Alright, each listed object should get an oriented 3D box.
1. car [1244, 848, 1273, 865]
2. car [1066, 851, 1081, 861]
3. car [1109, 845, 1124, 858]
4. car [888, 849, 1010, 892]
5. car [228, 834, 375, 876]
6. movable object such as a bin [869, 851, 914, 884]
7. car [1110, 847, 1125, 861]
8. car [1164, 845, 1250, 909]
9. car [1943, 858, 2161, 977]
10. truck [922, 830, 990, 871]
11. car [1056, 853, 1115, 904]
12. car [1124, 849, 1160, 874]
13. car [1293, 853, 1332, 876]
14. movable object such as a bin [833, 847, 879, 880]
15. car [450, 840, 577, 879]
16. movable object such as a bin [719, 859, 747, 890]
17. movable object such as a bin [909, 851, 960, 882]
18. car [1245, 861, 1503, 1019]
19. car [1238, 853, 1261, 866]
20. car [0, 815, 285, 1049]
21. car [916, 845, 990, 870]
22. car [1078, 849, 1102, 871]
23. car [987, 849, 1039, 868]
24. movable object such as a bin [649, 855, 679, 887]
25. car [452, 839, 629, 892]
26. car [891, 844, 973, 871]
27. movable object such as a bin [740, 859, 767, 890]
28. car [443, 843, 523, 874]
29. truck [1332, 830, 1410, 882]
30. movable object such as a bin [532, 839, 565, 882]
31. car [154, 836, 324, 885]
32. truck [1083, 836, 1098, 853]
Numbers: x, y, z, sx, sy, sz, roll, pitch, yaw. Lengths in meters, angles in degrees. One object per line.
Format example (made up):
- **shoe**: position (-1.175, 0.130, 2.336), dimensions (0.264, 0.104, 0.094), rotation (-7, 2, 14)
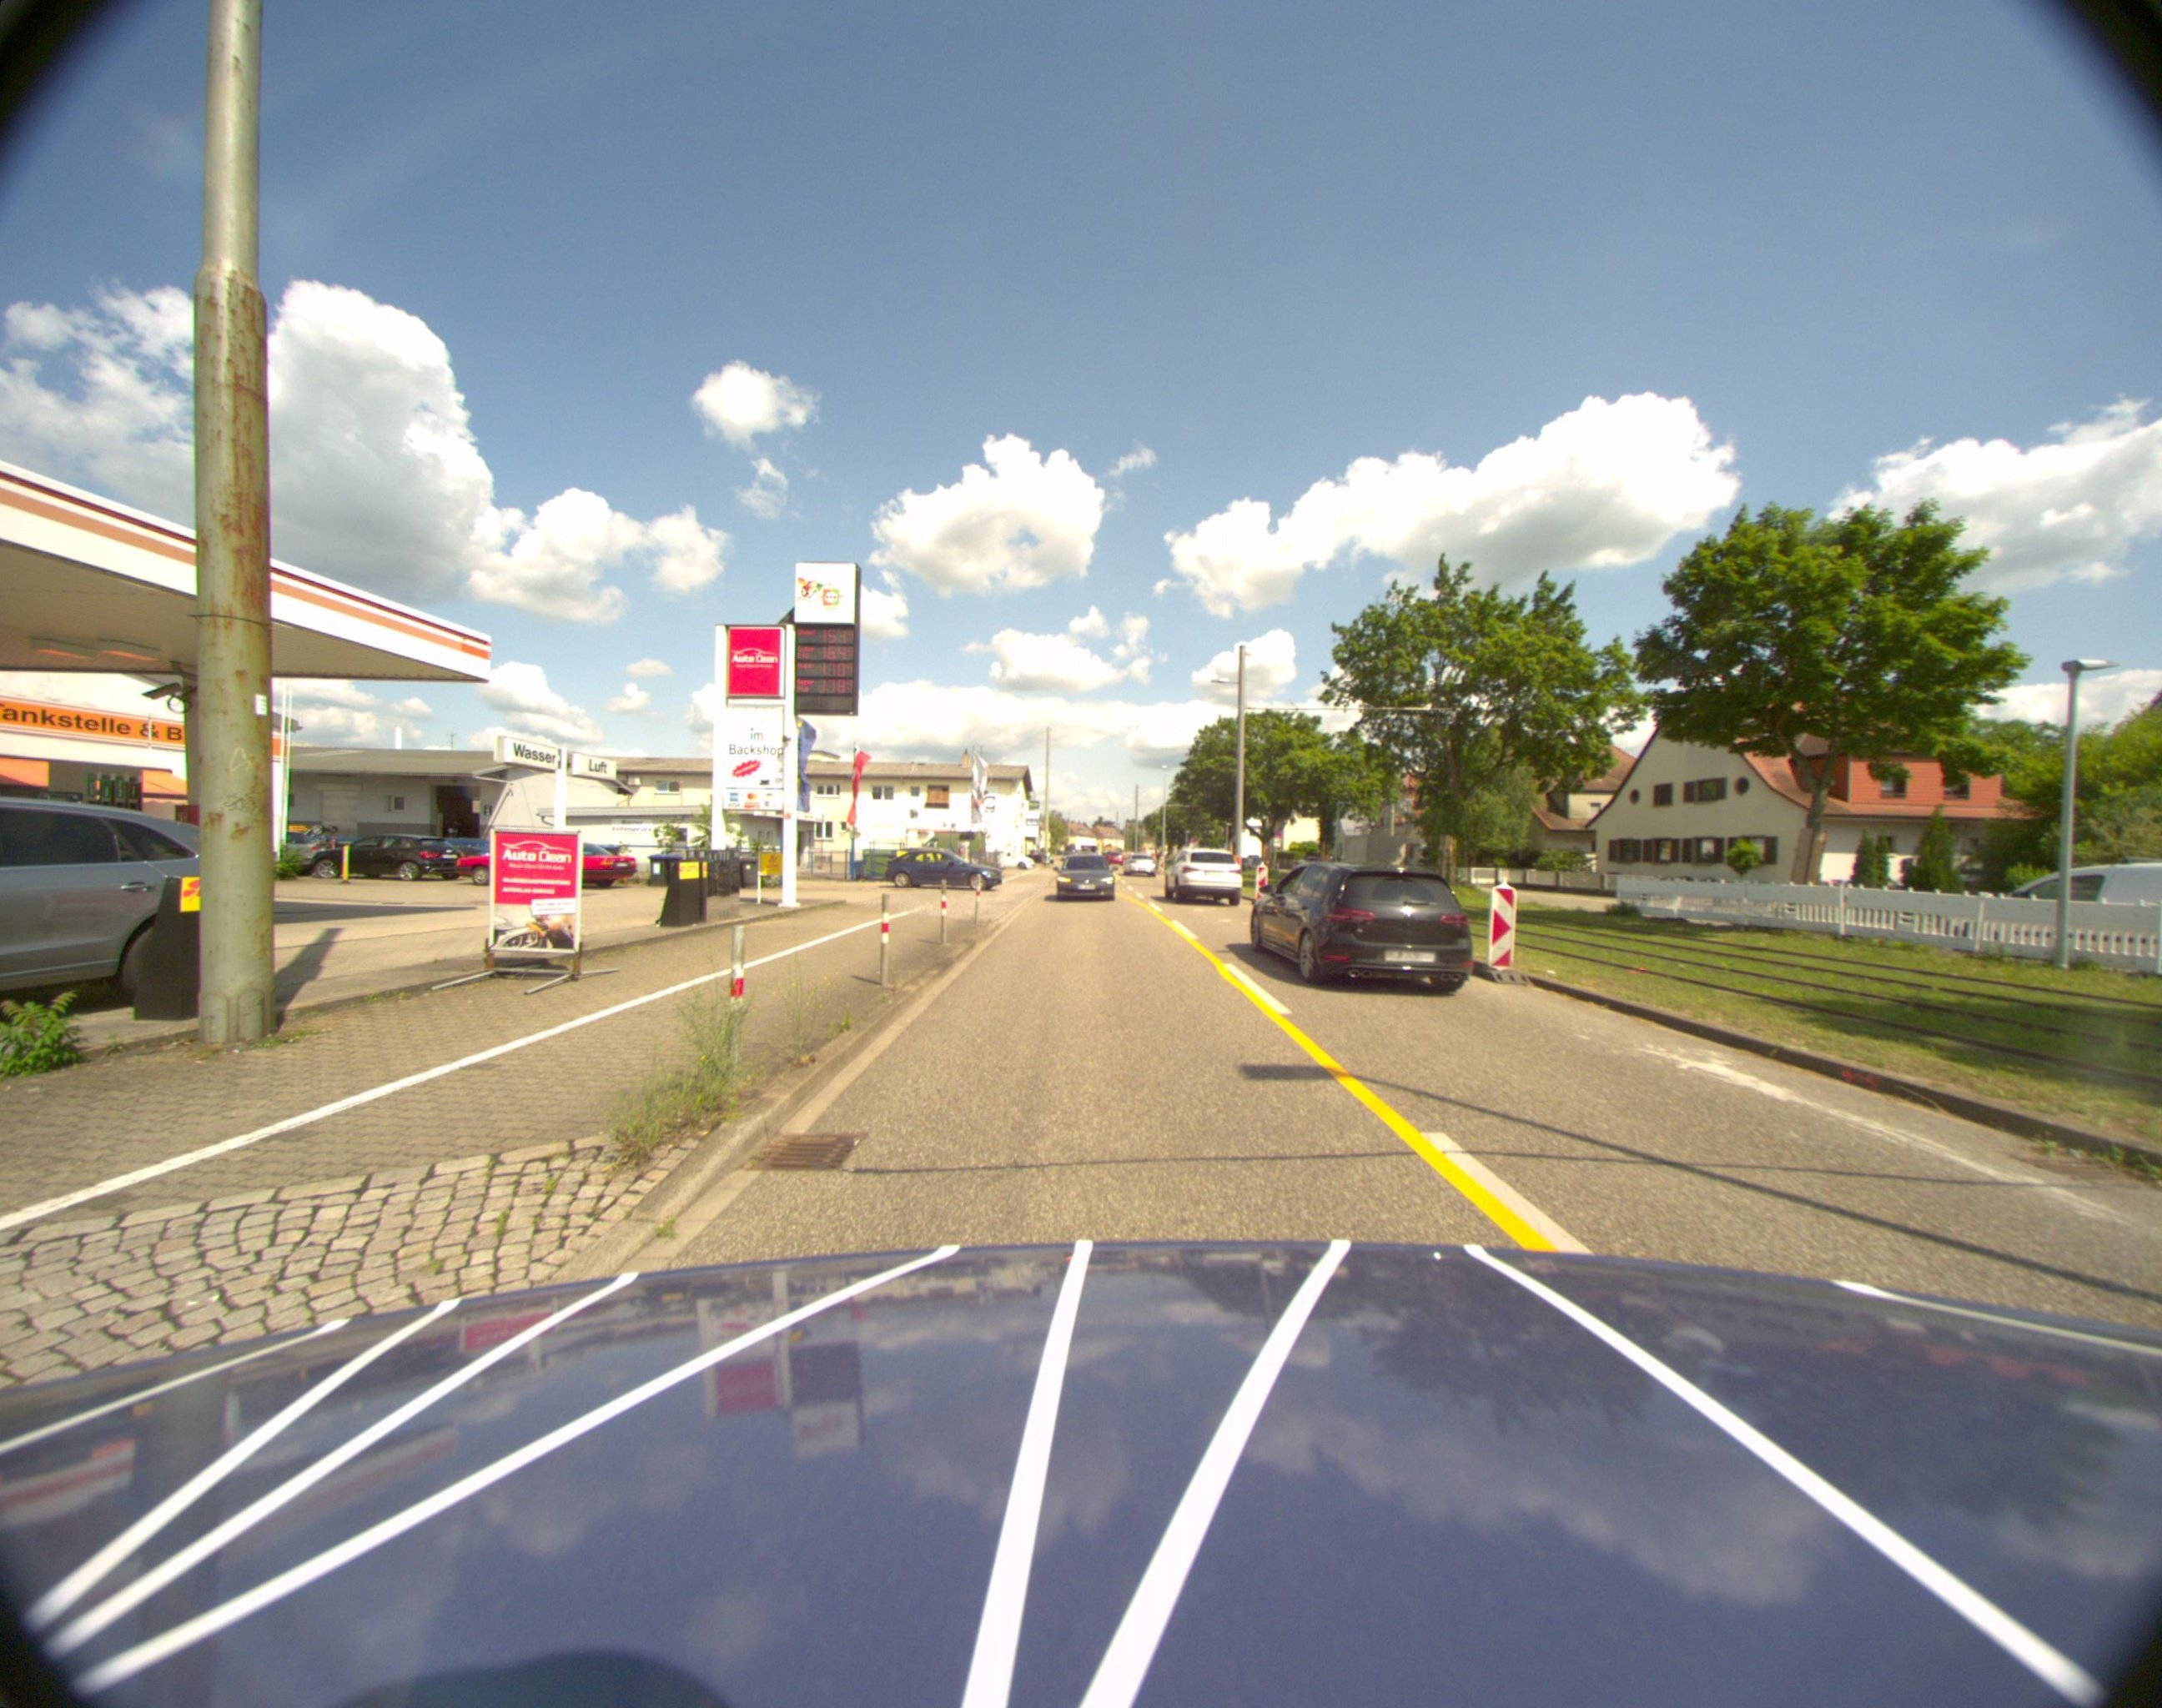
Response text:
- **car**: position (16.891, 0.186, 72.542), dimensions (1.707, 1.504, 4.523), rotation (-1, 1, 1)
- **car**: position (-1.092, 0.276, 114.011), dimensions (1.823, 1.412, 4.002), rotation (2, 1, 7)
- **car**: position (4.805, -0.370, 104.053), dimensions (1.801, 1.680, 4.220), rotation (3, 1, 0)
- **car**: position (-4.772, 0.574, 27.704), dimensions (4.060, 1.400, 1.648), rotation (1, 2, 7)
- **car**: position (-27.309, 0.014, 26.690), dimensions (3.645, 1.307, 1.552), rotation (2, 2, 2)
- **movable object such as a bin**: position (-8.534, 0.586, 34.339), dimensions (1.536, 1.402, 1.765), rotation (-1, 1, 0)
- **car**: position (4.048, -0.040, 84.510), dimensions (1.582, 1.461, 3.720), rotation (1, 1, 1)
- **car**: position (3.704, 0.599, 23.123), dimensions (1.829, 1.656, 4.461), rotation (2, 1, 0)
- **car**: position (16.269, 0.958, 11.575), dimensions (1.657, 1.616, 4.000), rotation (2, 1, 1)
- **truck**: position (-8.397, -0.252, 51.337), dimensions (4.181, 2.645, 2.108), rotation (-1, 2, 2)
- **car**: position (0.187, 0.719, 24.421), dimensions (1.743, 1.410, 4.380), rotation (0, 1, 1)
- **car**: position (3.818, 0.445, 48.060), dimensions (1.825, 1.437, 4.483), rotation (3, 0, 0)
- **car**: position (16.623, 0.707, 54.788), dimensions (1.672, 1.504, 3.930), rotation (-1, 1, 1)
- **movable object such as a bin**: position (-10.123, 0.419, 34.307), dimensions (1.536, 1.402, 1.765), rotation (-1, 1, 0)
- **car**: position (-19.601, 0.177, 26.307), dimensions (3.309, 1.218, 1.487), rotation (2, 2, 2)
- **movable object such as a bin**: position (-11.508, 0.673, 25.119), dimensions (0.582, 1.004, 0.706), rotation (-1, 2, -1)
- **movable object such as a bin**: position (-6.601, 0.552, 34.412), dimensions (1.968, 1.339, 1.708), rotation (-1, 1, 0)
- **car**: position (3.391, 0.895, 9.653), dimensions (1.696, 1.405, 3.858), rotation (3, 1, 0)
- **car**: position (17.407, 0.559, 78.604), dimensions (1.624, 1.235, 3.786), rotation (-1, 1, 1)
- **car**: position (-8.404, 0.518, 4.806), dimensions (1.951, 1.616, 4.614), rotation (2, 1, -1)
- **car**: position (-8.125, 0.217, 48.531), dimensions (4.257, 1.499, 1.828), rotation (0, 1, 8)
- **car**: position (0.626, 0.398, 52.886), dimensions (1.594, 1.418, 3.706), rotation (-1, 1, 1)
- **car**: position (-5.212, 0.337, 58.424), dimensions (3.725, 1.350, 1.518), rotation (0, 1, 4)
- **movable object such as a bin**: position (-13.793, 0.560, 25.133), dimensions (0.582, 1.004, 0.706), rotation (-1, 2, -1)
- **car**: position (-16.380, 0.318, 23.138), dimensions (4.144, 1.416, 1.771), rotation (2, 2, 2)
- **car**: position (-8.625, 0.193, 43.999), dimensions (4.254, 1.496, 1.829), rotation (0, 1, 17)
- **movable object such as a bin**: position (-10.825, 0.666, 25.145), dimensions (0.582, 1.004, 0.706), rotation (-1, 2, -1)
- **car**: position (-27.047, 0.185, 34.344), dimensions (3.663, 1.345, 1.642), rotation (0, 0, 31)
- **truck**: position (16.744, 0.062, 44.266), dimensions (2.371, 2.789, 5.950), rotation (-1, 1, 1)
- **movable object such as a bin**: position (-17.462, 0.217, 24.923), dimensions (0.582, 1.383, 0.706), rotation (1, 1, -1)
- **car**: position (-25.921, 0.178, 23.450), dimensions (3.592, 1.416, 1.528), rotation (1, 2, 2)
- **truck**: position (1.695, -1.692, 133.329), dimensions (2.632, 2.872, 7.922), rotation (-1, 1, 1)
